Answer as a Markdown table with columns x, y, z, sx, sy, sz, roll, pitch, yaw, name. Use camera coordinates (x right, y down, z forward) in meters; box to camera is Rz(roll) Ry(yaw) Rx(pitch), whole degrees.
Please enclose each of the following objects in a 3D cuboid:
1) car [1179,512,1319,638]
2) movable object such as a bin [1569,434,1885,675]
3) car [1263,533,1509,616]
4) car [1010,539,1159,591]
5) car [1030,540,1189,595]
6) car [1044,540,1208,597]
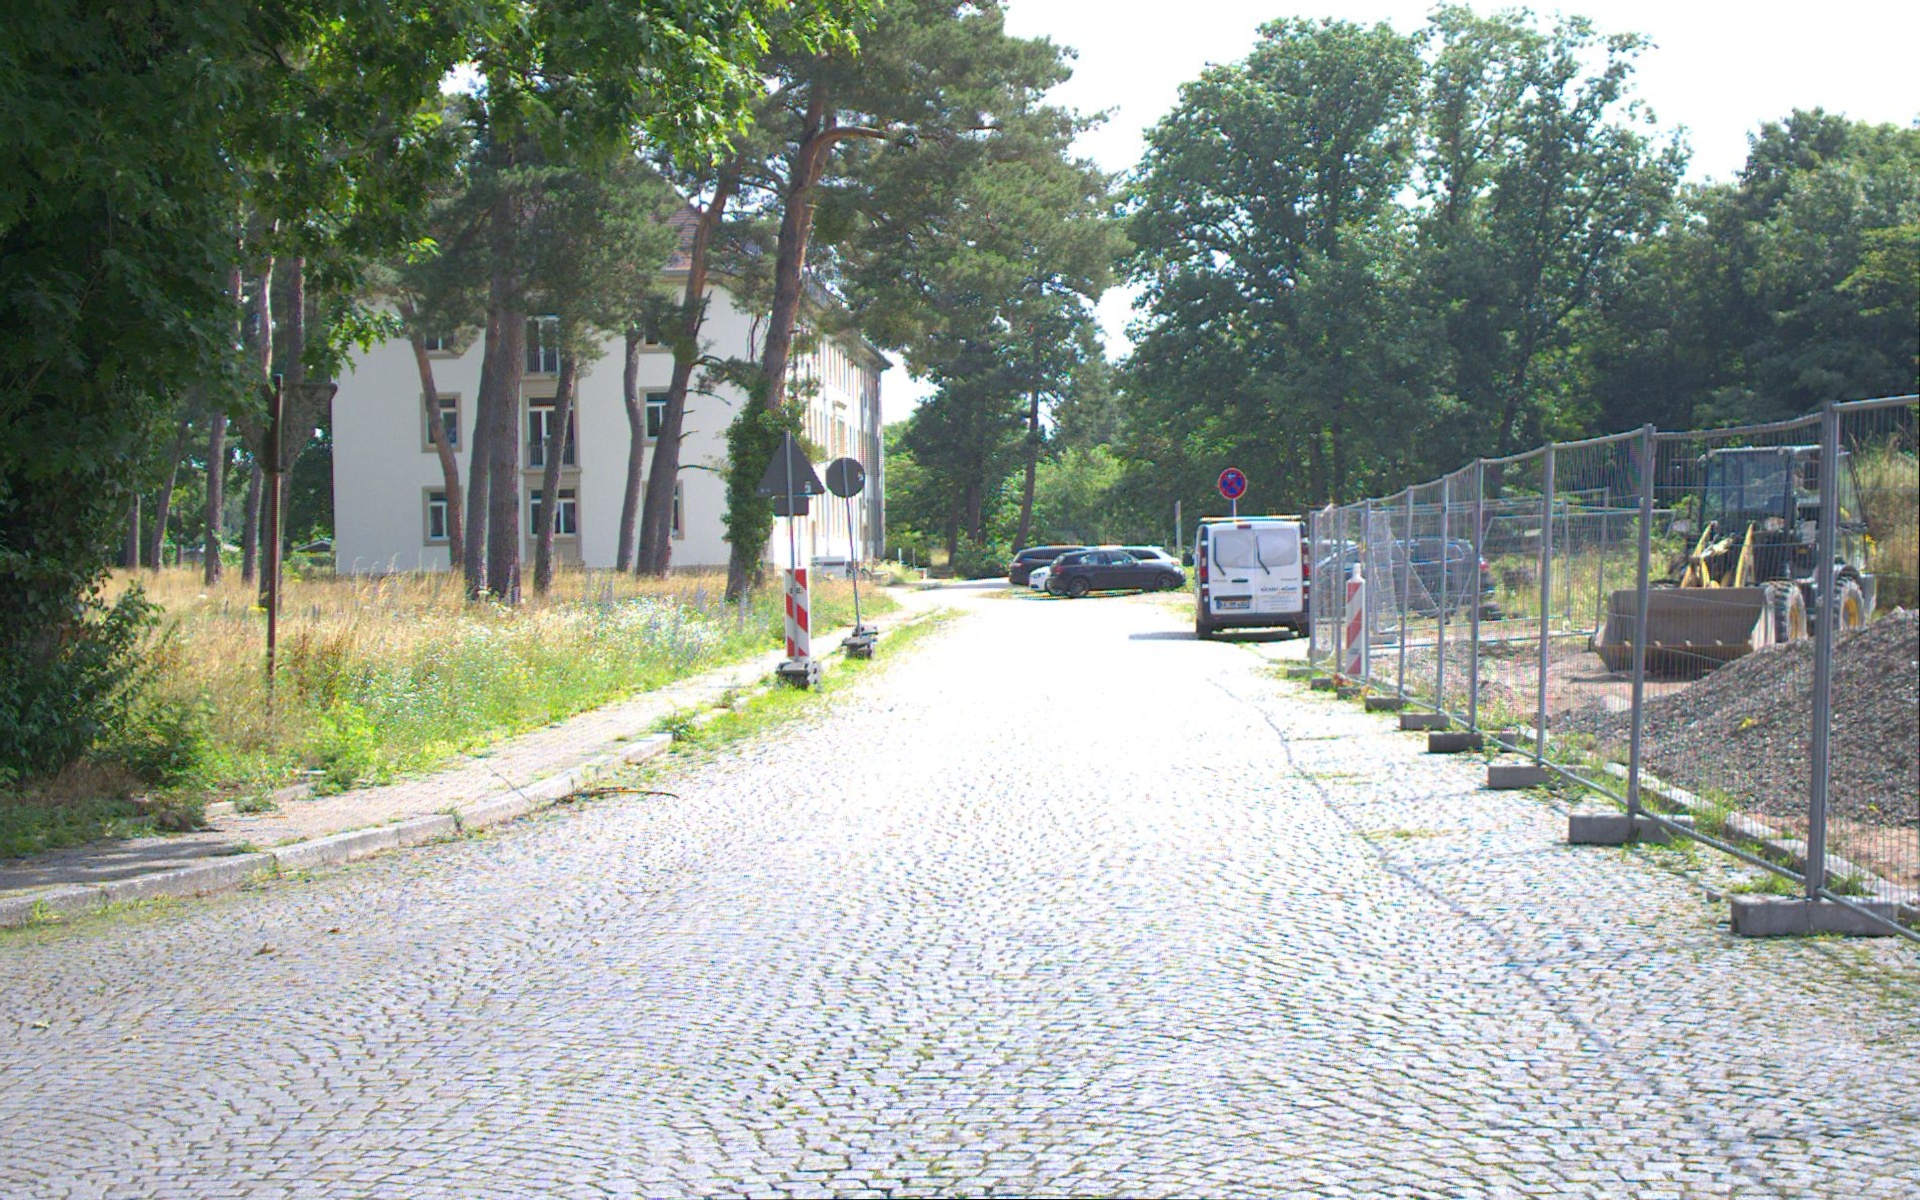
| x | y | z | sx | sy | sz | roll | pitch | yaw | name |
| --- | --- | --- | --- | --- | --- | --- | --- | --- | --- |
| 4.826 | -0.438 | 57.877 | 1.993 | 2.007 | 4.091 | -1 | 1 | 0 | car |
| 8.894 | -0.542 | 39.534 | 2.132 | 2.584 | 4.783 | 0 | 1 | 31 | movable object such as a bin |
| 7.881 | -0.482 | 63.395 | 4.404 | 1.505 | 1.999 | 0 | 1 | 10 | car |
| 4.155 | -1.176 | 115.165 | 4.779 | 1.635 | 2.000 | -1 | 1 | -3 | car |
| 4.656 | -1.030 | 107.655 | 4.779 | 1.635 | 2.000 | -1 | 1 | -3 | car |
| 5.028 | -0.970 | 104.448 | 4.779 | 1.635 | 2.000 | -1 | 1 | -3 | car |
